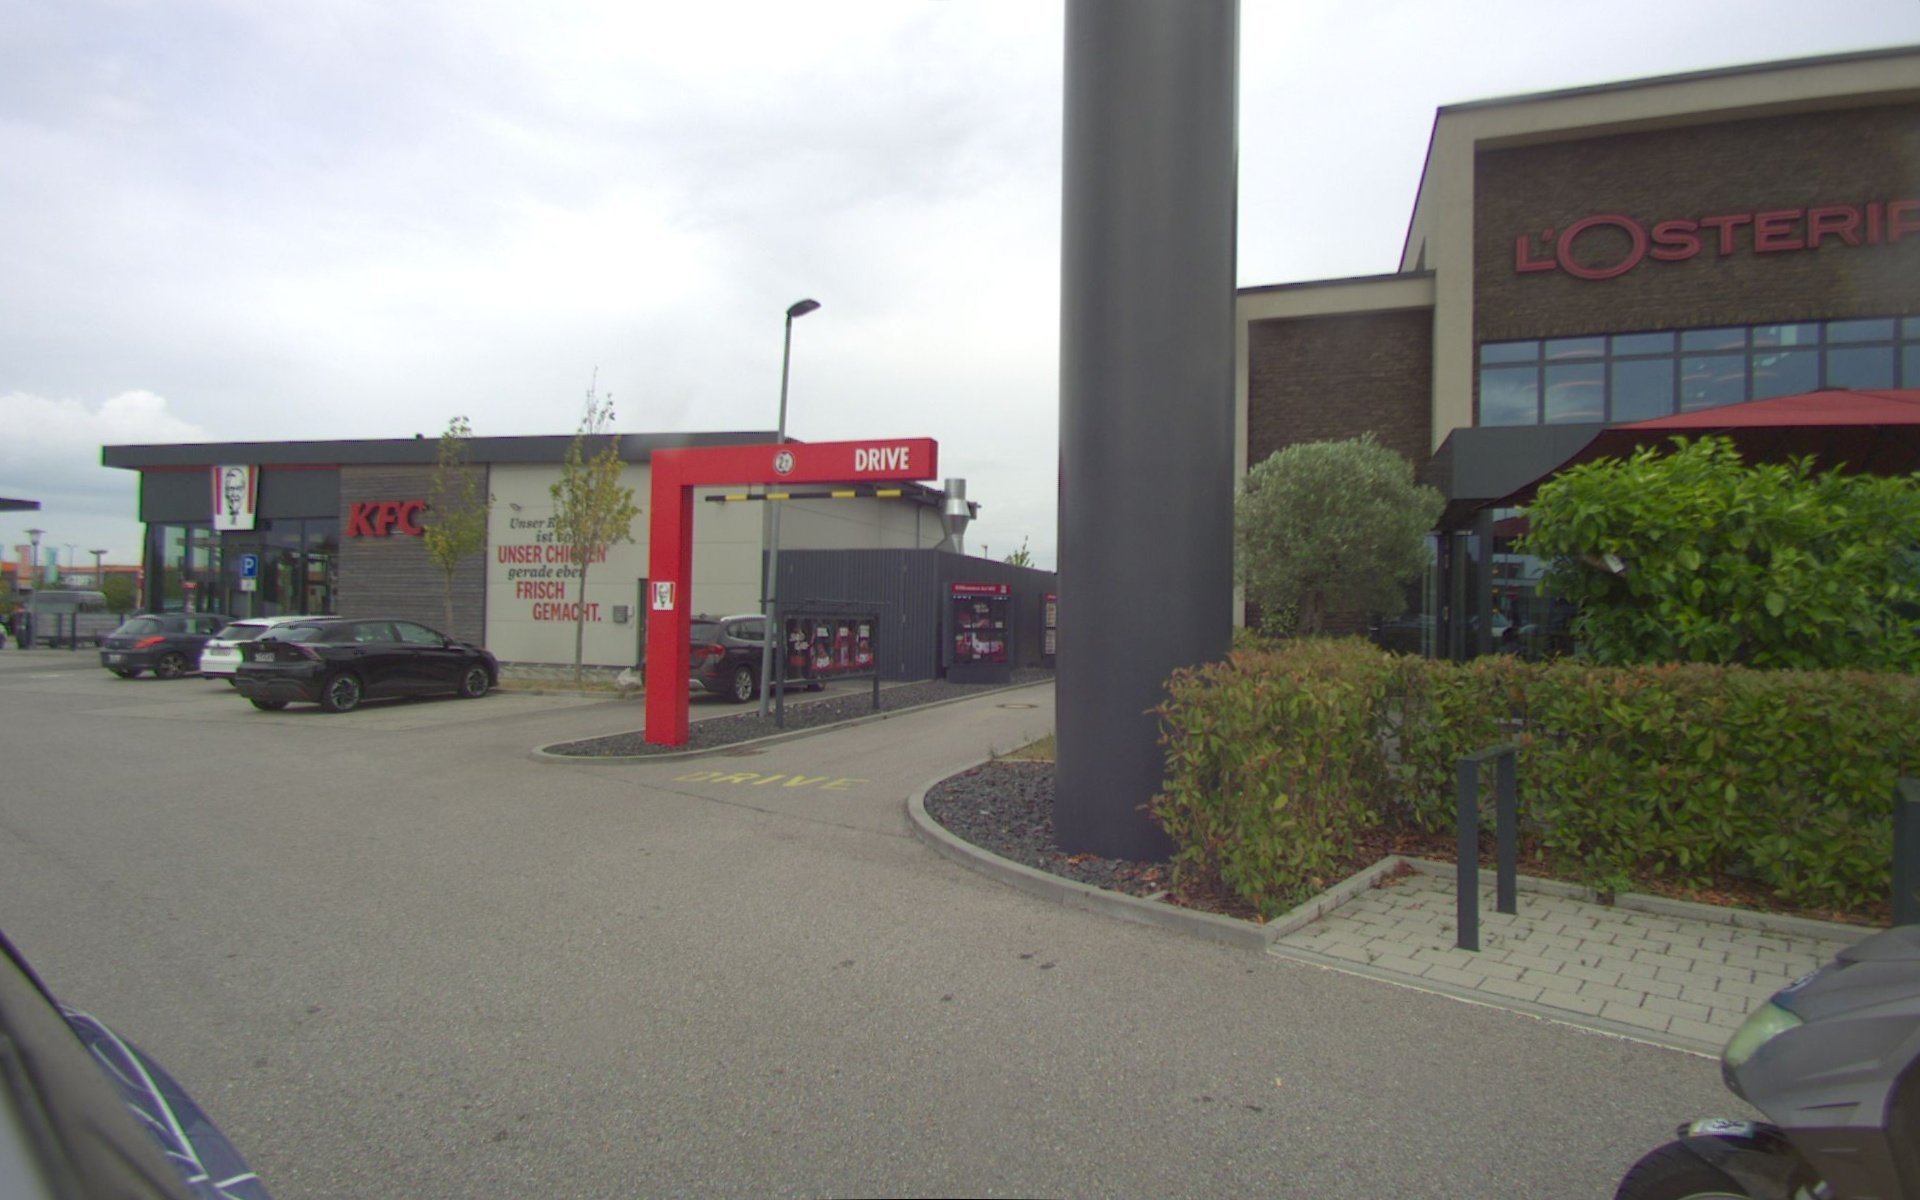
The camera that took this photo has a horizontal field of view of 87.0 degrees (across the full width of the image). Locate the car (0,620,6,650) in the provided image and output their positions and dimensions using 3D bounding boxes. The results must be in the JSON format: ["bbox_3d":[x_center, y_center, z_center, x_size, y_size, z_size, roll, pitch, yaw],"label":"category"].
[{"bbox_3d":[-49.386,1.684,49.169,4.041,1.478,1.785,1,-4,-30],"label":"car"}]

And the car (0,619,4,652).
[{"bbox_3d":[-42.891,1.538,43.376,1.658,1.462,4.013,0,-2,-26],"label":"car"}]

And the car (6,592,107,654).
[{"bbox_3d":[-40.779,1.080,45.866,2.038,2.573,7.033,1,-2,-31],"label":"car"}]

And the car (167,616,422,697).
[{"bbox_3d":[-13.880,1.116,21.410,1.985,1.497,4.151,0,-1,20],"label":"car"}]

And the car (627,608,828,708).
[{"bbox_3d":[-4.118,0.969,18.584,1.723,1.608,3.973,0,-1,20],"label":"car"}]

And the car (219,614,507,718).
[{"bbox_3d":[-10.023,1.038,17.387,1.728,1.540,4.096,0,-1,20],"label":"car"}]

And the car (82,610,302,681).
[{"bbox_3d":[-18.311,1.027,24.346,1.746,1.498,3.913,-1,0,20],"label":"car"}]

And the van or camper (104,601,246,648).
[{"bbox_3d":[-47.552,1.459,61.482,6.459,2.721,2.179,0,-2,-22],"label":"van or camper"}]

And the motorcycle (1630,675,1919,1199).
[{"bbox_3d":[1.976,0.750,1.204,1.919,1.217,0.785,0,-2,38],"label":"motorcycle"}]
